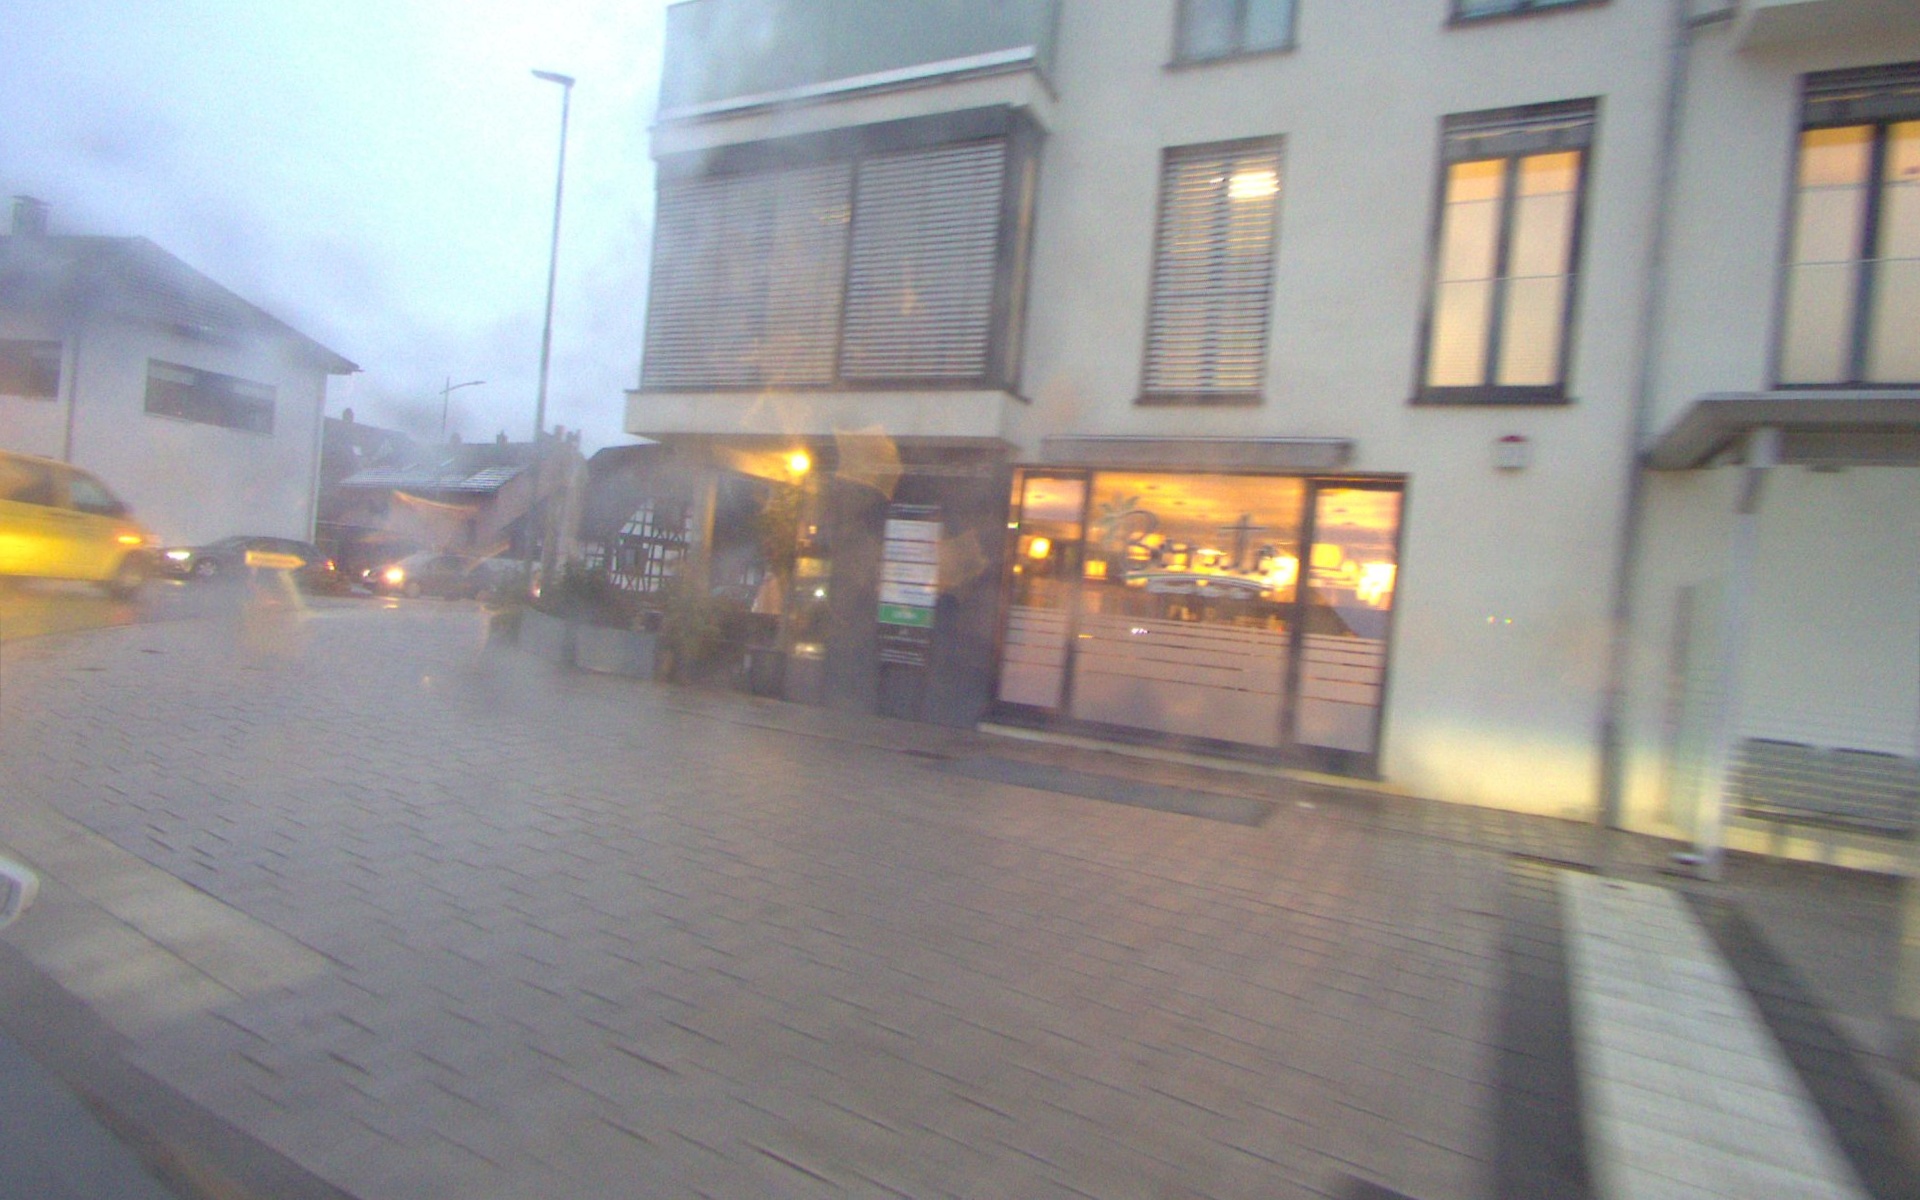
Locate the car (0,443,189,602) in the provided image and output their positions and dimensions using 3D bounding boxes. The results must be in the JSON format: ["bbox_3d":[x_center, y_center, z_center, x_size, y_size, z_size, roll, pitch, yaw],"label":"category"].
[{"bbox_3d":[-13.549,-1.121,13.935,1.964,2.038,4.898,6,-1,-3],"label":"car"}]

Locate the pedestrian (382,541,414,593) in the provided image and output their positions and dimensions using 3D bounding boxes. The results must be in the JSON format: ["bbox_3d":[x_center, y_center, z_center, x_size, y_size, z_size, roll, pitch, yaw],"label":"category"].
[{"bbox_3d":[-21.476,-1.258,38.454,0.628,1.855,0.714,8,2,39],"label":"pedestrian"}]

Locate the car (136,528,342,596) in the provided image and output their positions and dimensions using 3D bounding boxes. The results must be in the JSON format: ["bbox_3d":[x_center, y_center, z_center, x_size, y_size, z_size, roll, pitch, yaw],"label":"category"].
[{"bbox_3d":[-19.903,-1.011,27.985,1.819,1.400,4.231,3,-3,27],"label":"car"}]

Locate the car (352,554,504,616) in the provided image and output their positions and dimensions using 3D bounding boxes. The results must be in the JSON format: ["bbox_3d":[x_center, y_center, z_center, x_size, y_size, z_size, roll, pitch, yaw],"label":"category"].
[{"bbox_3d":[-17.151,-0.444,32.597,1.668,1.570,3.994,4,-2,30],"label":"car"}]

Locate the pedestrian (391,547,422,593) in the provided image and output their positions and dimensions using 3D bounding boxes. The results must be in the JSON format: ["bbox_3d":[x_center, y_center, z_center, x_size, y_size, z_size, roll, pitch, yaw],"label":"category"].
[{"bbox_3d":[-20.900,-1.128,37.979,0.574,1.641,0.714,7,1,39],"label":"pedestrian"}]
